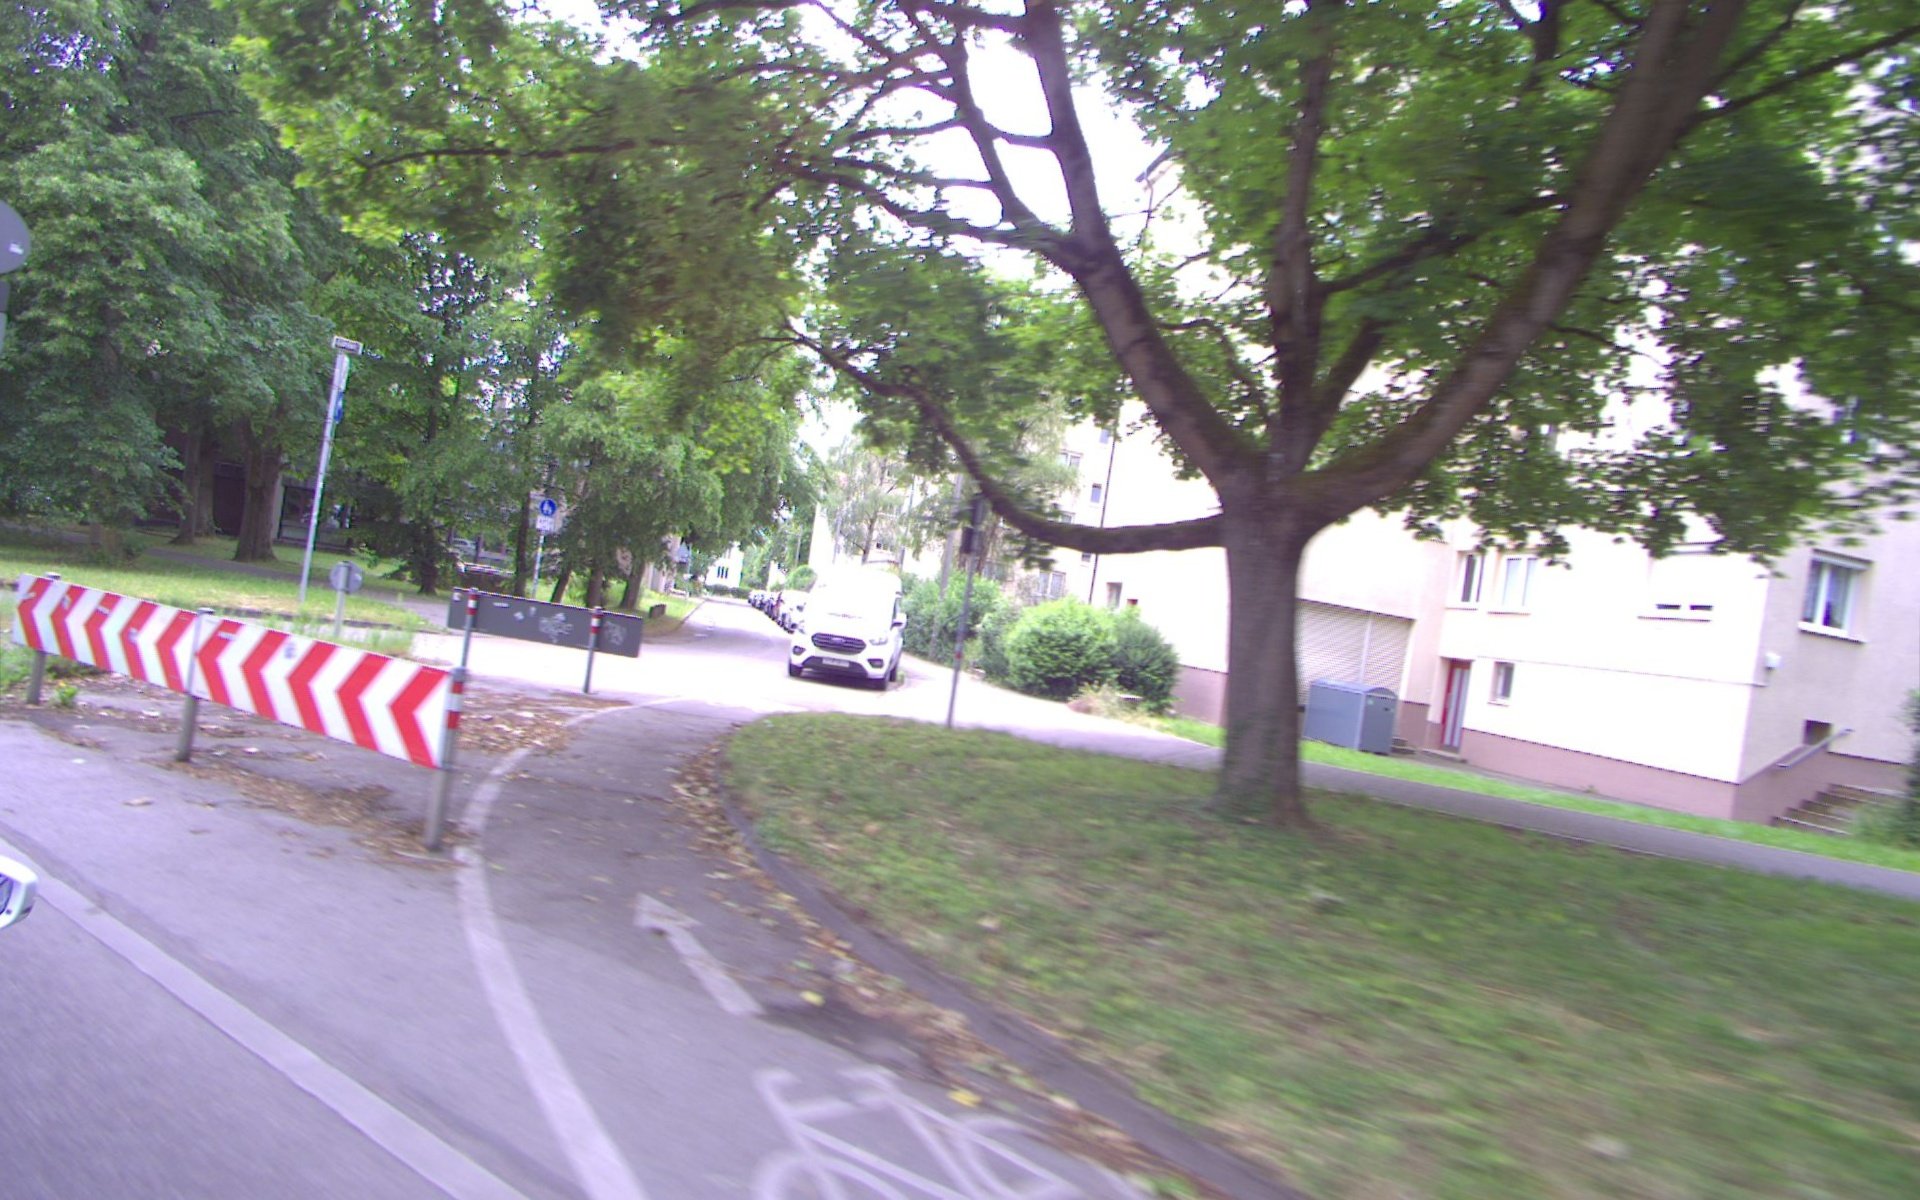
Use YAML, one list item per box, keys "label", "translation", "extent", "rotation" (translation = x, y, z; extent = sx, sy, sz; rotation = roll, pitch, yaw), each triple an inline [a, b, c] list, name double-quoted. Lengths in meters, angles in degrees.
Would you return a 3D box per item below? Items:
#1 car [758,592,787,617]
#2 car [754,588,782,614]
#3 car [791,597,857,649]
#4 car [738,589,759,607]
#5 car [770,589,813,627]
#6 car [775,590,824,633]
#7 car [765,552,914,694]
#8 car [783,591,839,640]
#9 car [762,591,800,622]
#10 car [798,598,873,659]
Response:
- label: "car"
  translation: [-14.142, 0.306, 75.703]
  extent: [1.772, 1.528, 3.989]
  rotation: [8, -1, -14]
- label: "car"
  translation: [-15.462, 0.049, 80.913]
  extent: [1.772, 1.833, 3.989]
  rotation: [8, -1, -14]
- label: "car"
  translation: [-5.030, 0.804, 36.746]
  extent: [1.773, 1.528, 3.988]
  rotation: [8, -1, -15]
- label: "car"
  translation: [-21.647, -0.213, 102.951]
  extent: [1.772, 1.528, 3.989]
  rotation: [8, -1, -14]
- label: "car"
  translation: [-9.123, 0.392, 54.302]
  extent: [1.772, 1.694, 3.989]
  rotation: [8, -1, -14]
- label: "car"
  translation: [-7.735, 0.509, 48.282]
  extent: [1.772, 1.694, 3.989]
  rotation: [8, -1, -14]
- label: "car"
  translation: [-2.353, 0.486, 21.331]
  extent: [2.251, 2.326, 5.327]
  rotation: [8, -1, 0]
- label: "car"
  translation: [-6.325, 0.612, 42.382]
  extent: [1.772, 1.694, 3.989]
  rotation: [8, -1, -14]
- label: "car"
  translation: [-10.783, 0.356, 60.413]
  extent: [1.772, 1.528, 3.989]
  rotation: [8, -1, -14]
- label: "car"
  translation: [-4.028, 0.846, 31.869]
  extent: [1.771, 1.528, 4.593]
  rotation: [8, -1, -12]
